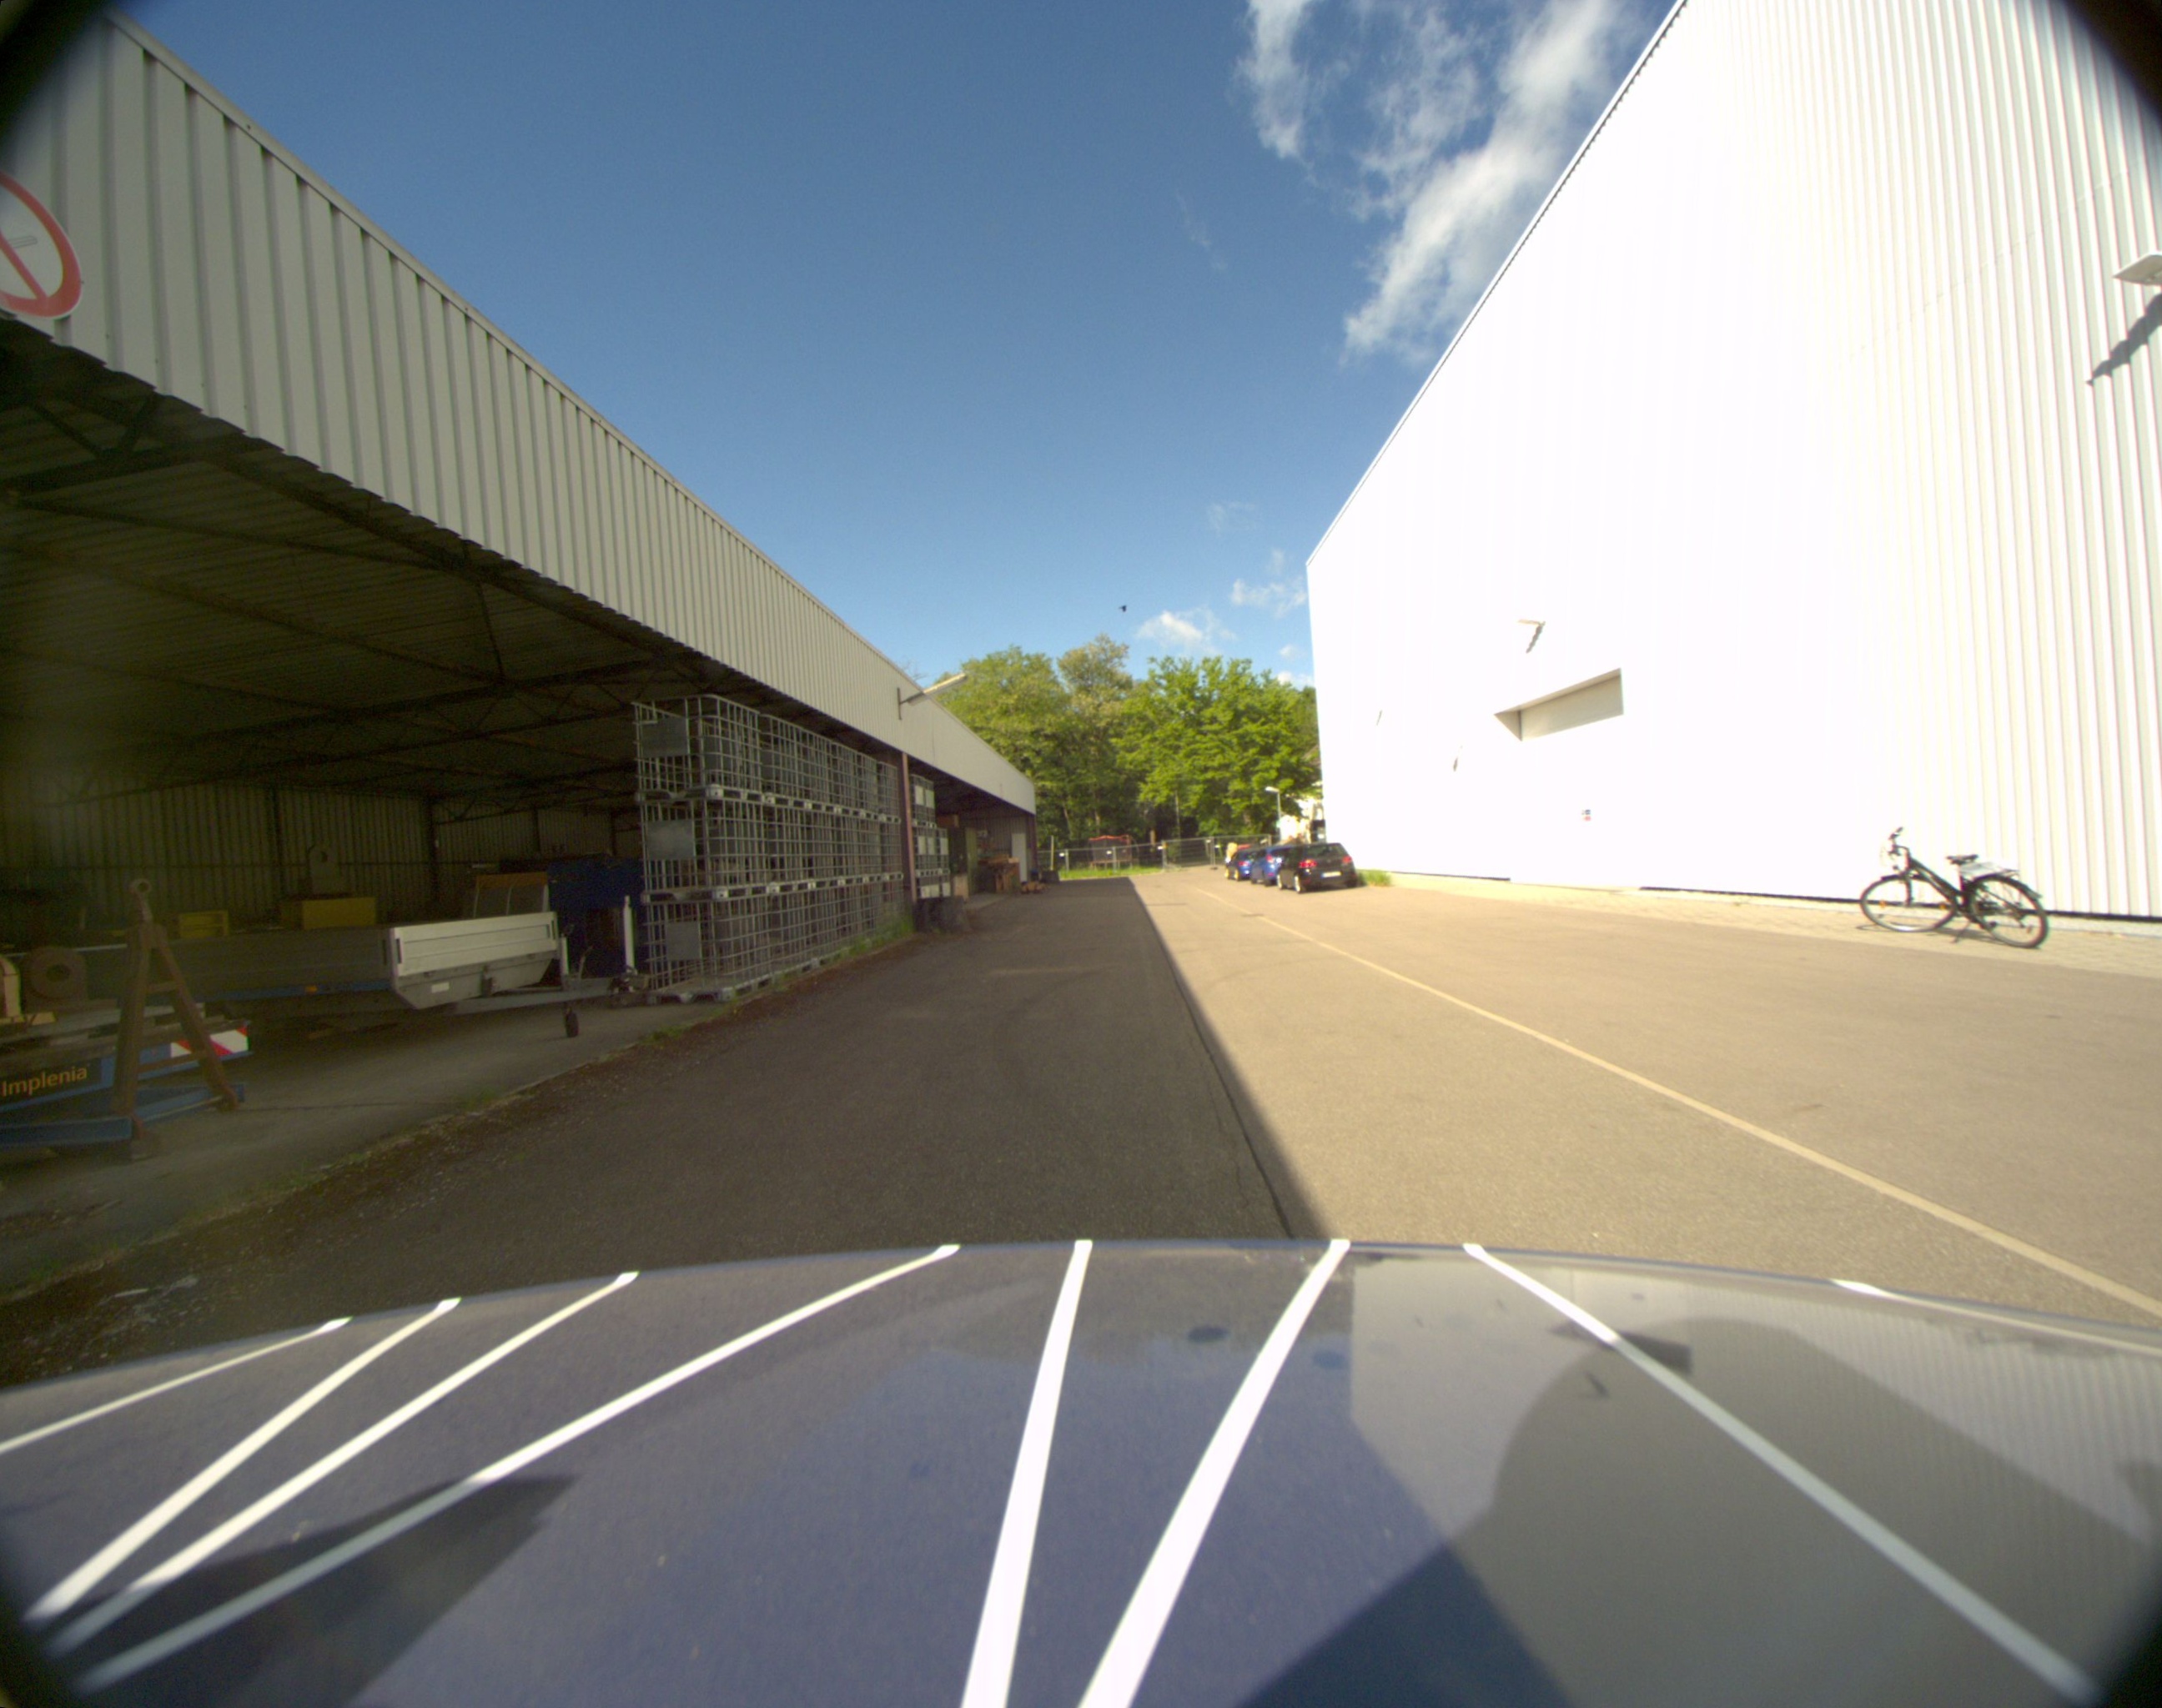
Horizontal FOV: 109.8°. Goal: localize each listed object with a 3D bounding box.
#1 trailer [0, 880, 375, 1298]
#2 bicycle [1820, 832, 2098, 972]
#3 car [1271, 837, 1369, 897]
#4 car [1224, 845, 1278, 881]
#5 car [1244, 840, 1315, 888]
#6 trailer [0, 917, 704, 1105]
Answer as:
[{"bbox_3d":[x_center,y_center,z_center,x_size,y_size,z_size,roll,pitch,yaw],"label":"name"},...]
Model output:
[{"bbox_3d":[-6.804,1.099,3.661,4.879,1.619,2.029,-3,0,2],"label":"trailer"},{"bbox_3d":[8.668,0.415,7.663,0.909,1.136,1.901,-7,0,18],"label":"bicycle"},{"bbox_3d":[7.311,0.358,23.664,1.895,1.513,4.001,-7,0,5],"label":"car"},{"bbox_3d":[7.618,0.371,34.414,1.789,1.431,4.001,-3,0,4],"label":"car"},{"bbox_3d":[7.468,0.355,28.912,1.789,1.513,4.001,-7,0,5],"label":"car"},{"bbox_3d":[-6.919,1.361,7.021,5.836,1.113,2.029,-3,0,2],"label":"trailer"}]
